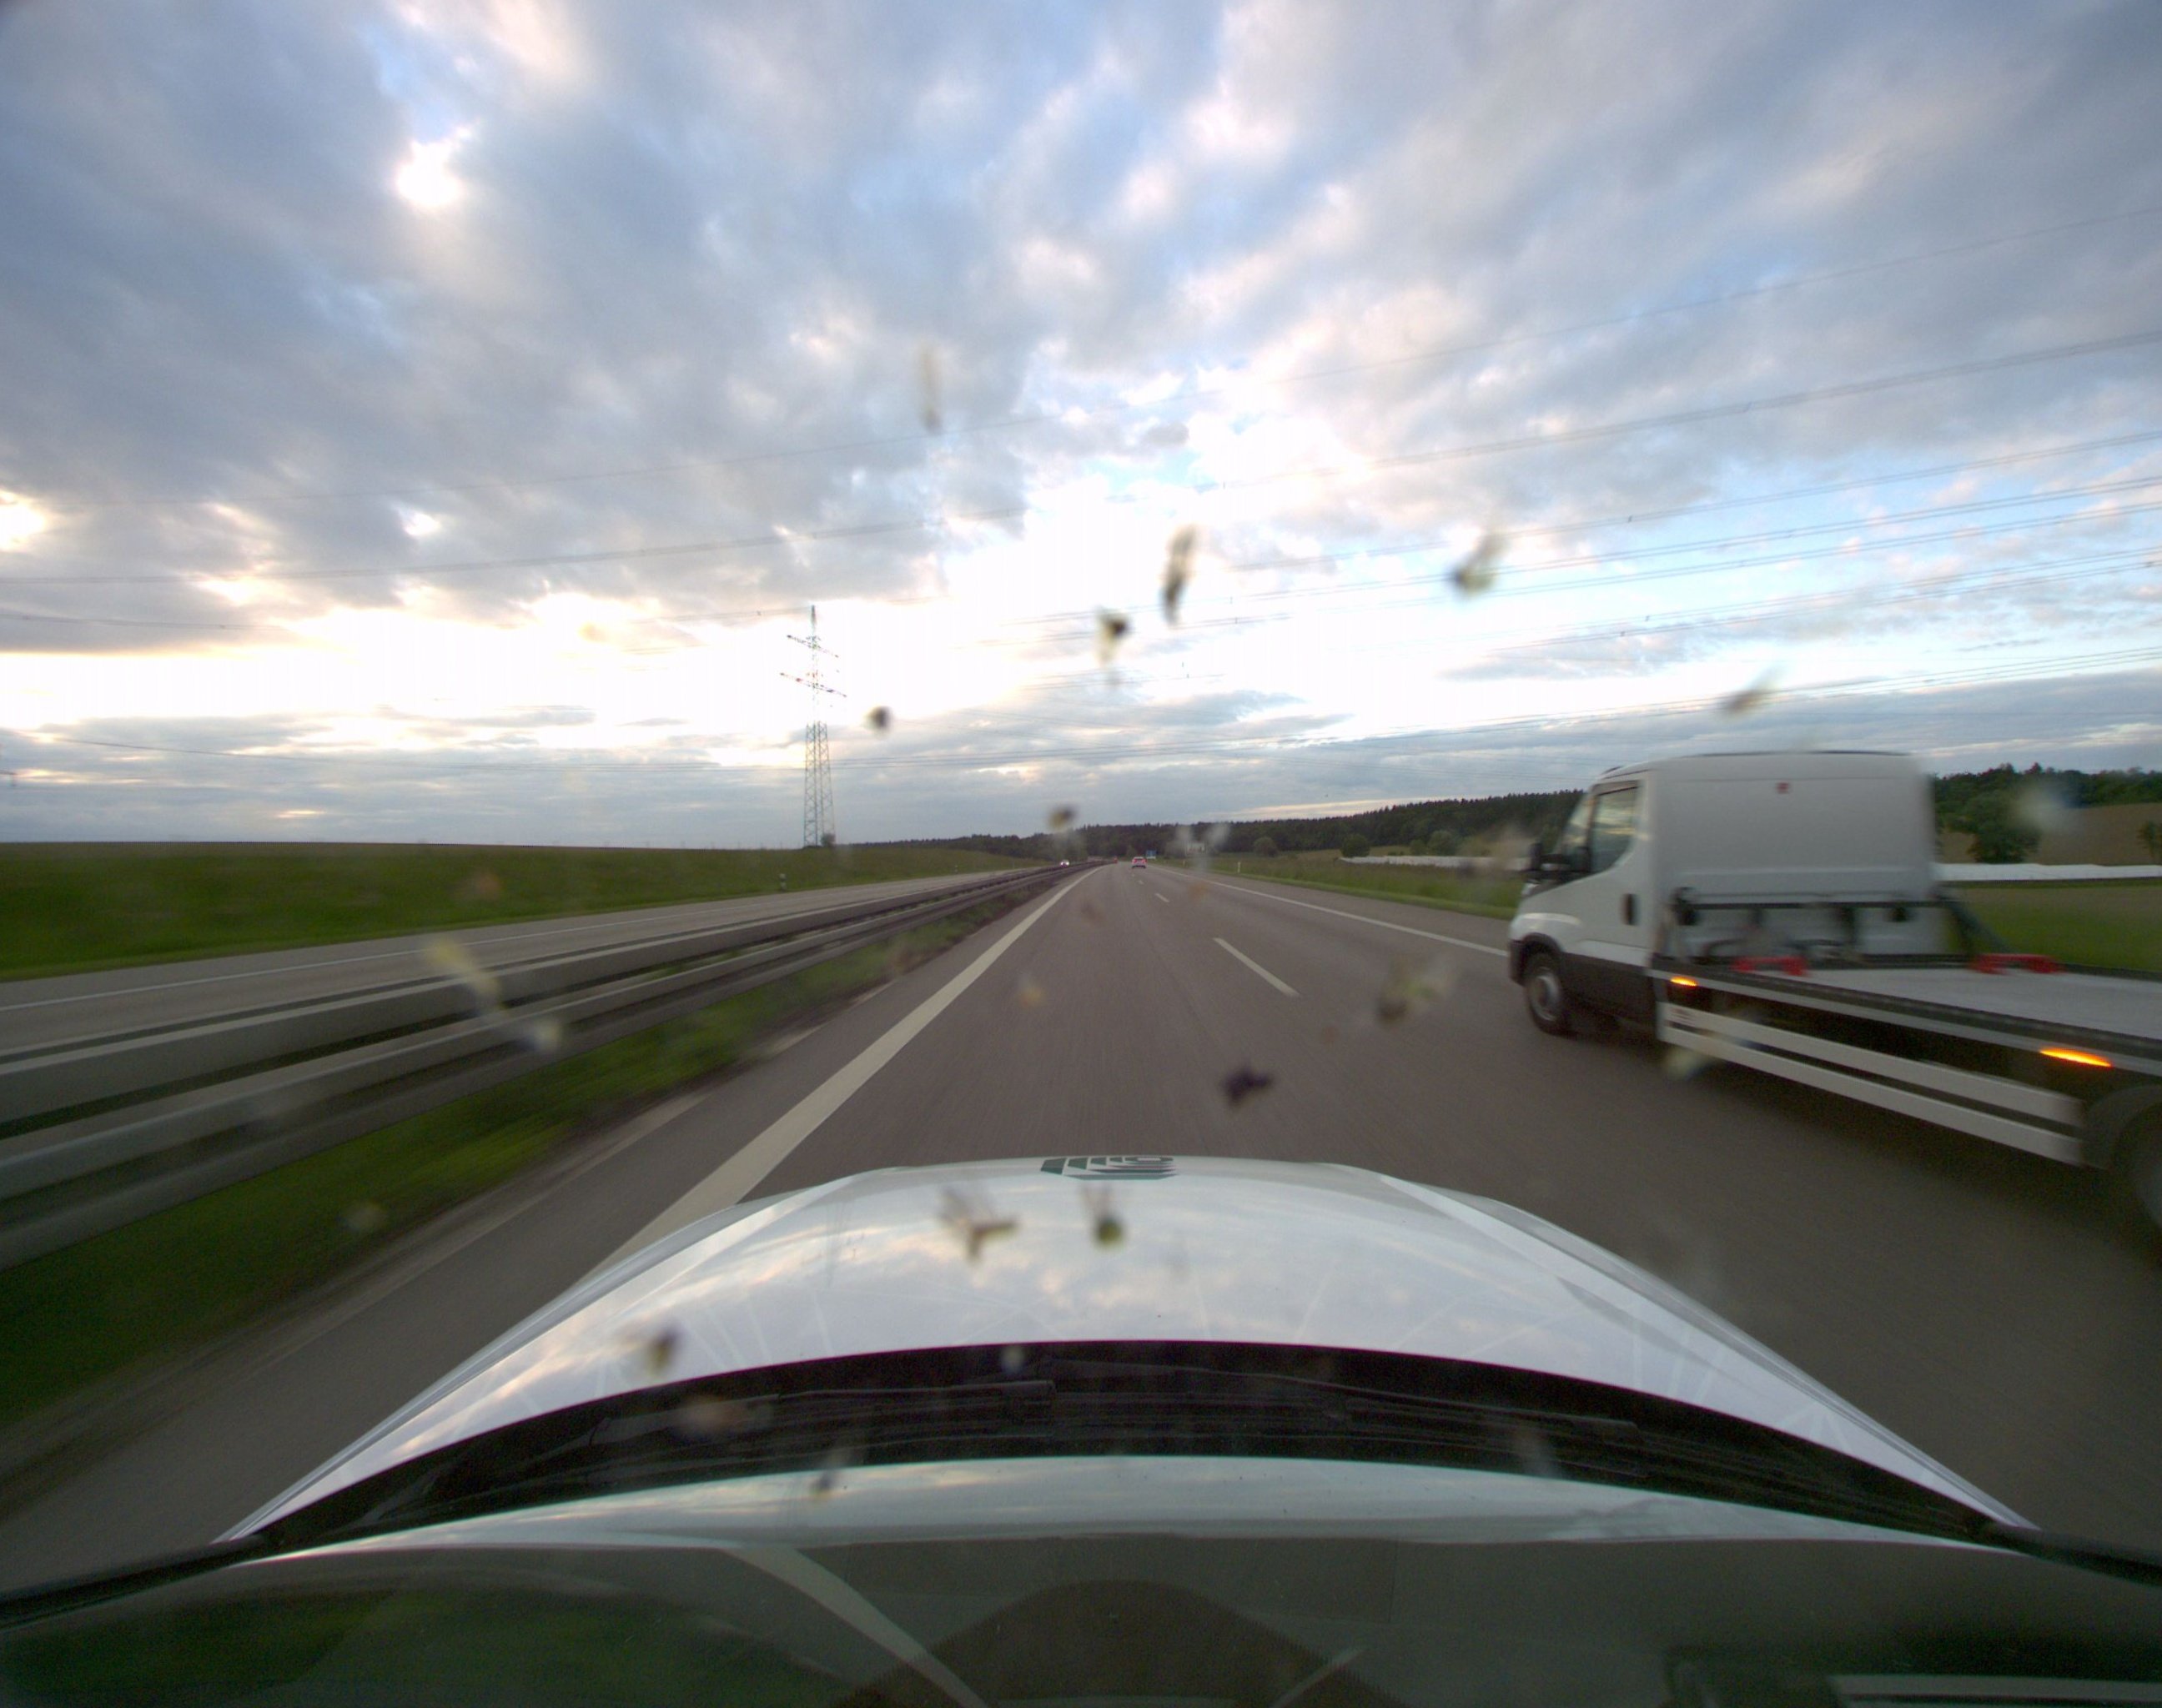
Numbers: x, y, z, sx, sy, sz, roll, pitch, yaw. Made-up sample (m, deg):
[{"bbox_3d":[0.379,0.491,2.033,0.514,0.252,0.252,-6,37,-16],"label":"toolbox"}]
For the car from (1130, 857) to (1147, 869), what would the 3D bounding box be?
[{"bbox_3d":[7.528,1.207,107.072,1.944,1.531,4.081,0,0,1],"label":"car"}]

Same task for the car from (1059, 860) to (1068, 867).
[{"bbox_3d":[-4.316,2.324,200.122,1.757,1.482,5.338,0,0,3],"label":"car"}]

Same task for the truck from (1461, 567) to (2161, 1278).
[{"bbox_3d":[4.748,0.227,4.365,2.163,2.360,7.702,0,0,3],"label":"truck"}]
